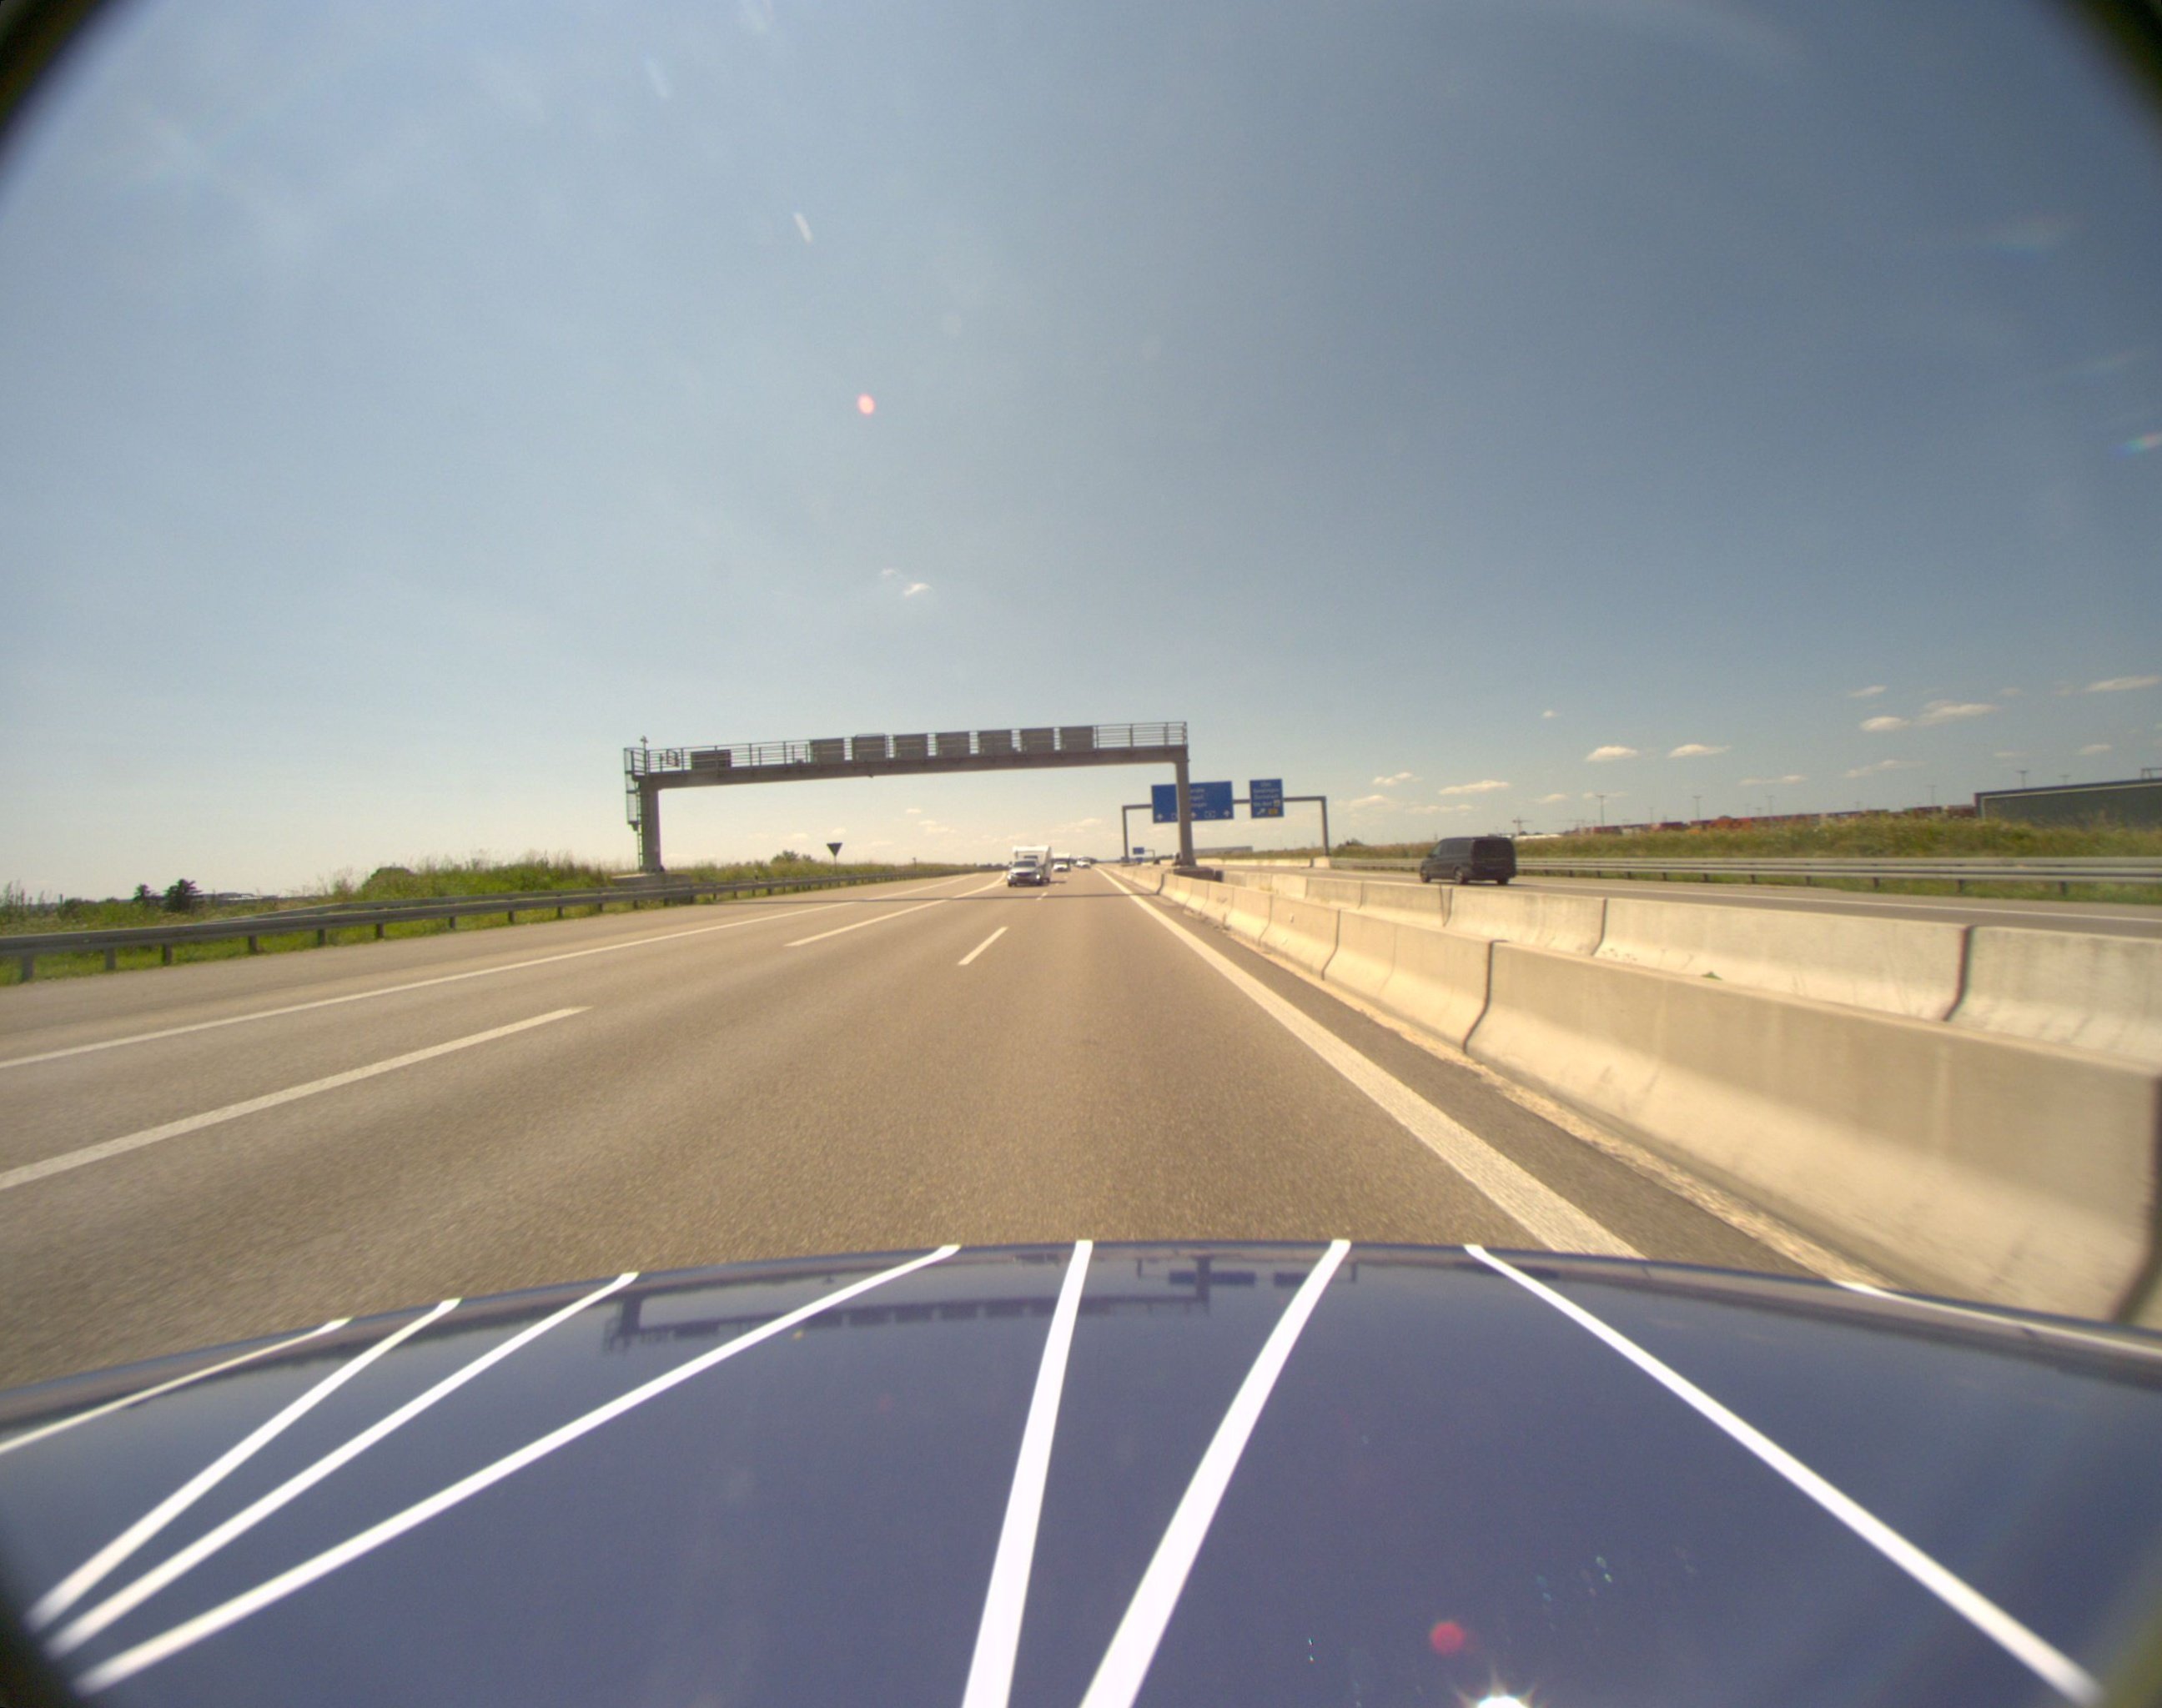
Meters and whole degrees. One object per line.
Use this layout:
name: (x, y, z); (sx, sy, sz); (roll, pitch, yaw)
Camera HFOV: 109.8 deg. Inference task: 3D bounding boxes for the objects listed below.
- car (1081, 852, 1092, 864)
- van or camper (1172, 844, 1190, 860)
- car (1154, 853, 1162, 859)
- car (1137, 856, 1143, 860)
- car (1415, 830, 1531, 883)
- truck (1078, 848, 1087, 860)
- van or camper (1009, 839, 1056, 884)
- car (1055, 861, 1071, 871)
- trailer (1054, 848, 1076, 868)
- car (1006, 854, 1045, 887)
car: (1.134, 0.748, 143.980); (1.998, 2.002, 4.000); (-2, 0, 0)
van or camper: (17.545, -0.321, 133.951); (2.325, 2.543, 6.316); (-2, 0, 0)
car: (21.585, 0.561, 213.735); (1.851, 1.813, 4.921); (-2, 0, 0)
car: (19.065, 1.215, 244.886); (1.895, 1.321, 3.987); (-2, 0, 5)
car: (16.025, 0.173, 31.462); (2.153, 2.001, 5.383); (0, -1, 1)
truck: (0.388, -0.068, 178.812); (2.168, 2.797, 6.489); (-2, 0, 0)
van or camper: (-3.153, 0.414, 51.753); (2.518, 2.579, 7.814); (-2, 2, 1)
car: (-2.470, 1.646, 103.498); (1.872, 1.351, 3.674); (-1, -1, 2)
trailer: (-2.251, 0.562, 108.862); (2.500, 2.685, 7.157); (-2, -1, 2)
car: (-3.246, 0.921, 45.538); (1.885, 1.614, 4.902); (-2, 2, 1)
